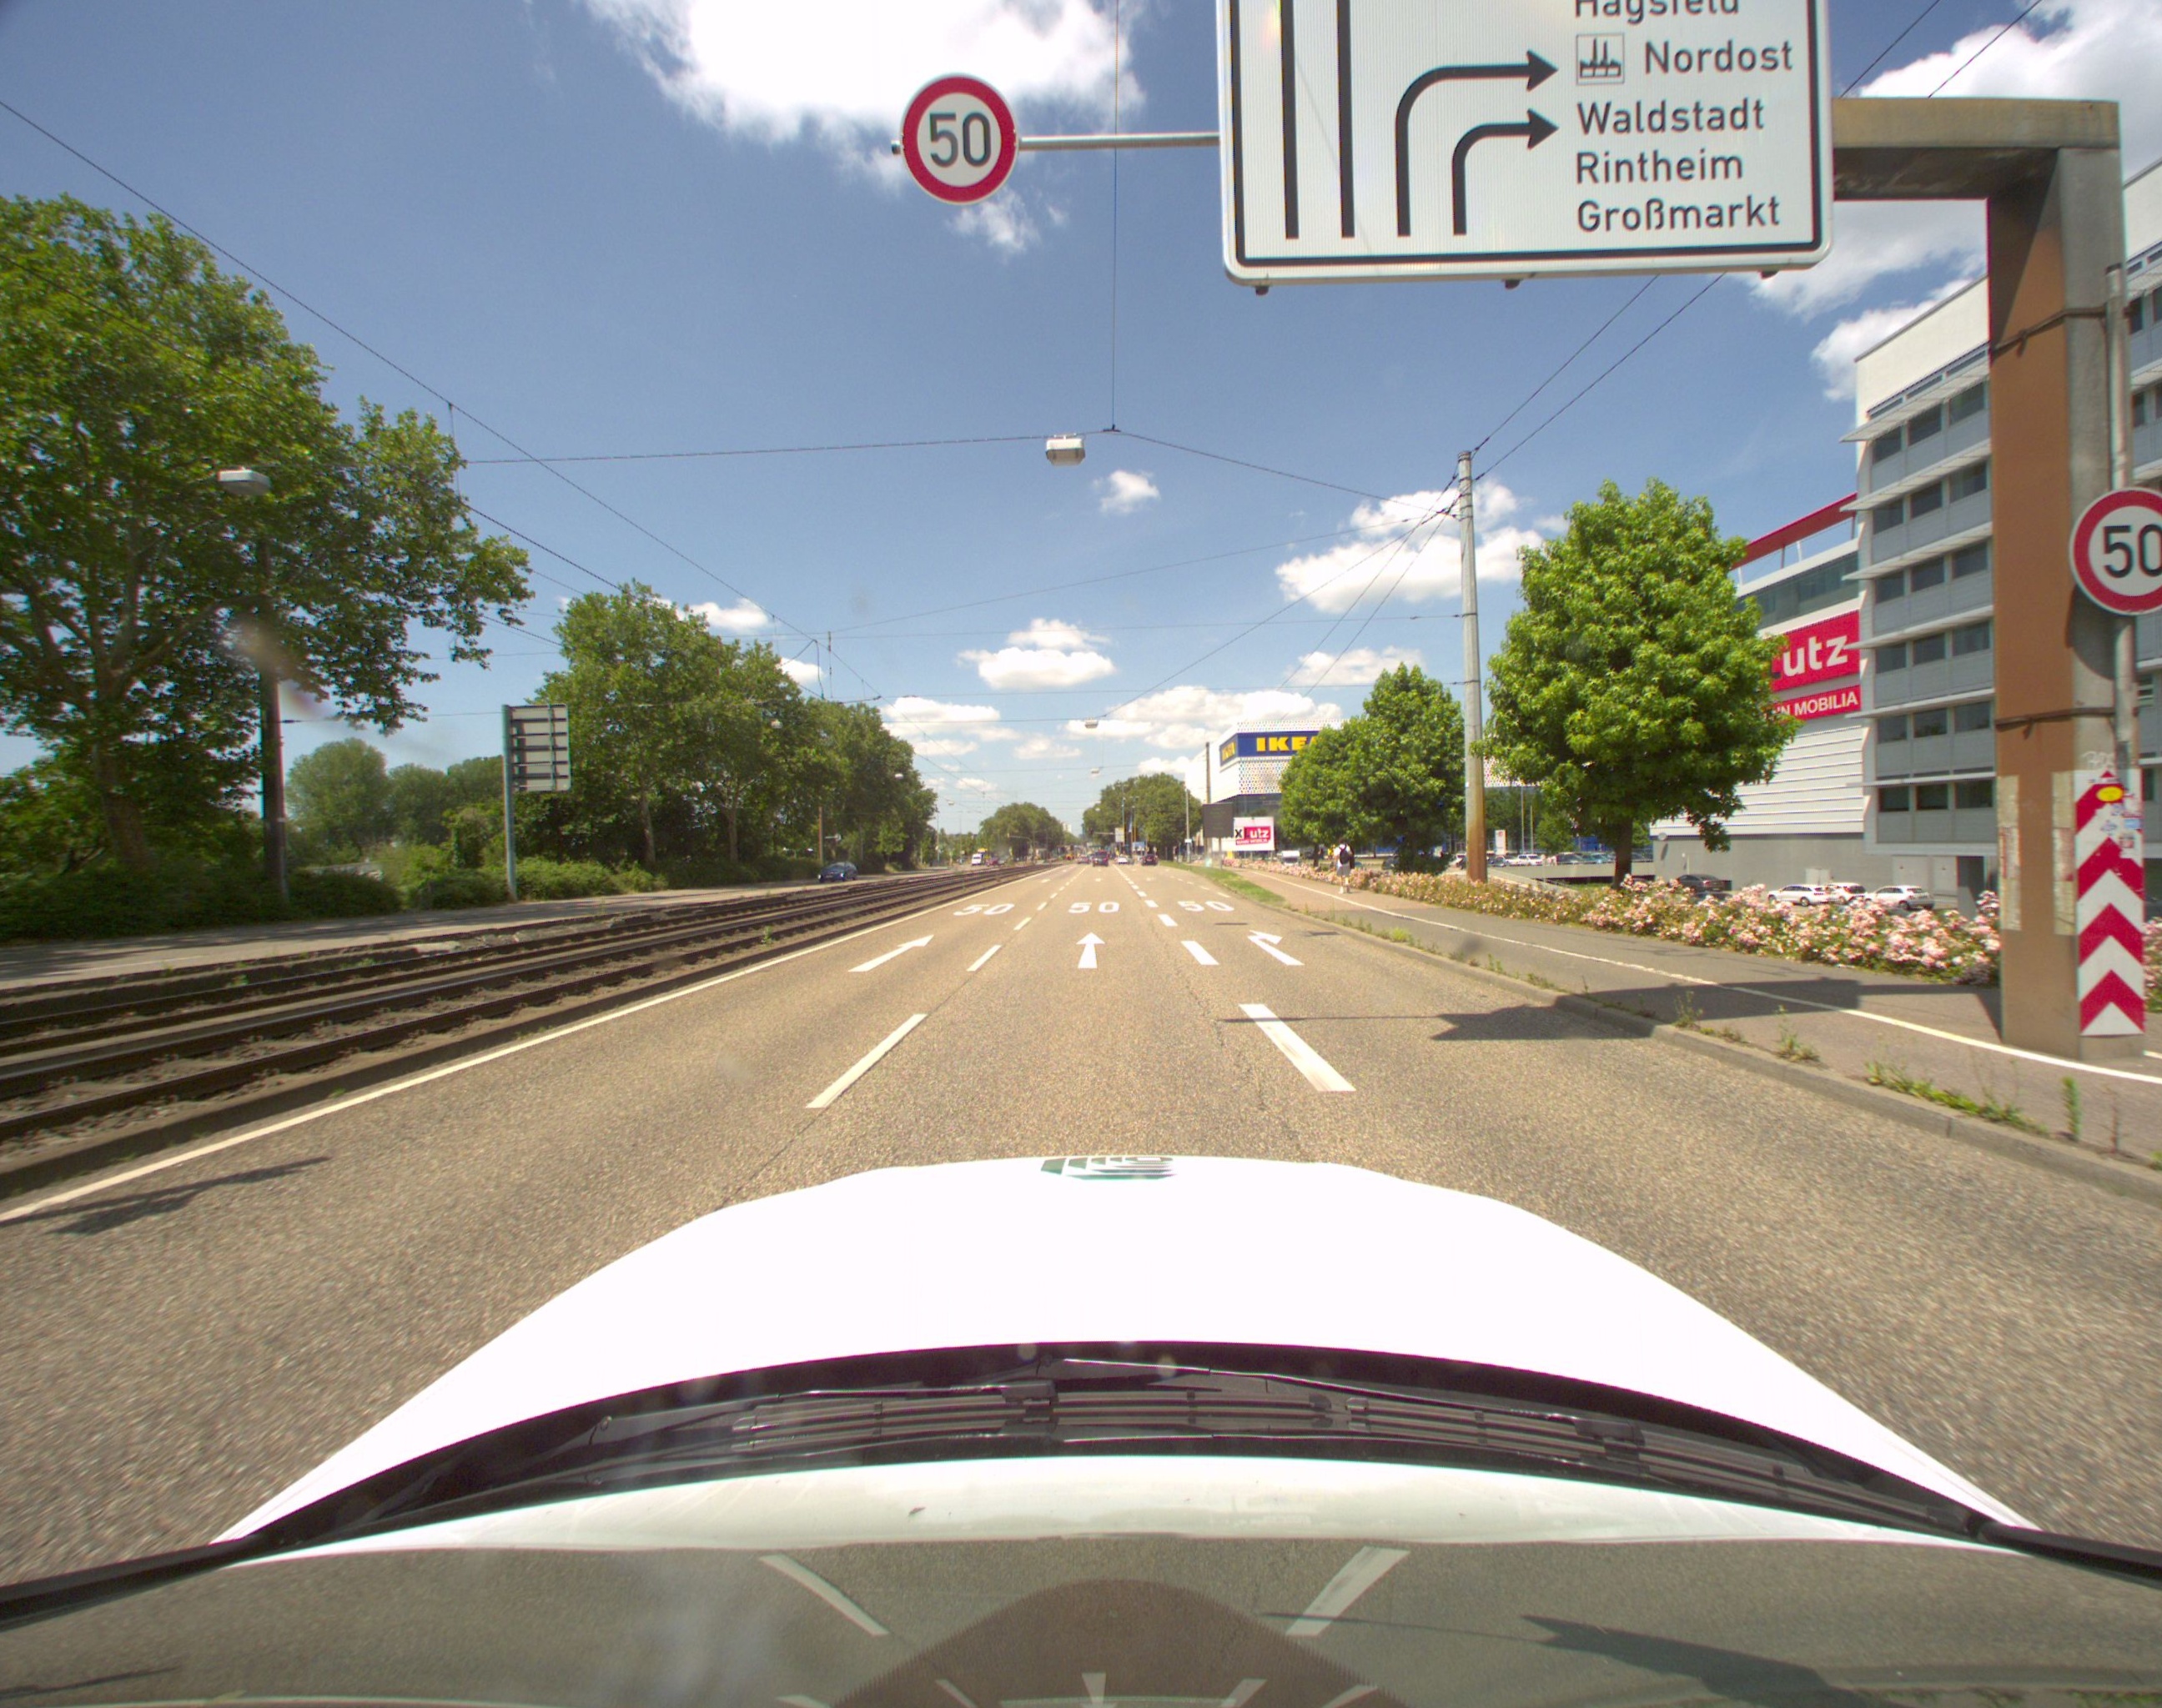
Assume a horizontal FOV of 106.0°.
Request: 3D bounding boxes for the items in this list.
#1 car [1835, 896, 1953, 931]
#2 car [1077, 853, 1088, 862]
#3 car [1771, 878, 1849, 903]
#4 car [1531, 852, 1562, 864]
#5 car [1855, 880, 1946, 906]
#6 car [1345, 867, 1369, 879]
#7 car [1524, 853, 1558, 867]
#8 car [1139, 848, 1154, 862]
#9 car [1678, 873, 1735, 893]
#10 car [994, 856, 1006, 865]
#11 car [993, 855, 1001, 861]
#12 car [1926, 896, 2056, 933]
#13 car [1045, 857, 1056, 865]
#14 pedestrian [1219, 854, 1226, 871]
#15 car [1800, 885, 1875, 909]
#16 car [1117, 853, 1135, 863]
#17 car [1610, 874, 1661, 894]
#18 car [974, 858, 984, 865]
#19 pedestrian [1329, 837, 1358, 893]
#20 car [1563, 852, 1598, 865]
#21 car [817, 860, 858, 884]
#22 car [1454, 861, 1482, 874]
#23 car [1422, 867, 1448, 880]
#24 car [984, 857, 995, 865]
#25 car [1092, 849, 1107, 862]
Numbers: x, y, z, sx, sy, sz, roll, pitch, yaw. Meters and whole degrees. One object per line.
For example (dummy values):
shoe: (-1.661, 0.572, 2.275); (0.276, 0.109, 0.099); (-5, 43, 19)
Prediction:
car: (40.283, 2.918, 40.489); (1.581, 1.393, 4.236); (0, 0, -2)
car: (0.288, 0.585, 135.609); (1.836, 1.549, 3.776); (0, 0, 0)
car: (50.657, 2.503, 56.721); (1.734, 1.483, 4.241); (0, 0, 2)
car: (56.401, 0.481, 98.697); (1.566, 1.483, 3.887); (0, 0, 0)
car: (53.246, 2.499, 53.021); (1.734, 1.483, 4.241); (0, 0, 2)
car: (34.339, 2.354, 101.356); (1.566, 1.483, 3.887); (0, 0, 0)
car: (50.947, 0.644, 90.347); (1.566, 1.483, 3.887); (0, 0, 0)
car: (8.792, 0.113, 109.580); (1.892, 1.805, 3.978); (0, 0, 2)
car: (51.529, 2.387, 67.201); (1.734, 1.483, 3.965); (0, 0, 2)
car: (-14.642, 1.119, 147.179); (1.617, 1.549, 3.985); (0, 0, 1)
car: (-21.384, 1.094, 206.486); (1.617, 1.549, 3.704); (0, 0, 1)
car: (45.009, 2.952, 40.440); (1.735, 1.483, 4.238); (0, 0, 0)
car: (-5.717, 1.294, 152.931); (1.836, 1.549, 3.776); (0, 0, 0)
pedestrian: (14.905, 0.903, 85.931); (0.578, 1.792, 0.589); (0, 0, -1)
car: (53.245, 2.981, 57.414); (1.734, 1.483, 3.965); (0, 0, 2)
car: (7.383, 0.676, 133.566); (1.670, 1.549, 4.006); (0, 0, 23)
car: (46.459, 2.491, 68.298); (1.734, 1.483, 3.965); (0, 0, 2)
car: (-22.371, 1.569, 178.871); (1.617, 1.549, 3.704); (0, 0, 1)
pedestrian: (8.541, 0.349, 26.501); (0.666, 1.792, 0.925); (0, 0, 3)
car: (55.319, 0.487, 90.255); (1.566, 1.483, 3.887); (0, 0, 0)
car: (-16.872, 1.228, 56.605); (1.640, 1.550, 4.215); (0, 0, -1)
car: (47.999, 1.628, 101.009); (1.566, 1.483, 3.887); (0, 0, 0)
car: (43.993, 2.397, 101.275); (1.566, 1.483, 3.887); (0, 0, 0)
car: (-17.343, 1.323, 154.546); (1.617, 1.549, 3.985); (0, 0, 1)
car: (2.334, 0.186, 102.542); (1.869, 1.539, 3.777); (0, 0, 1)
